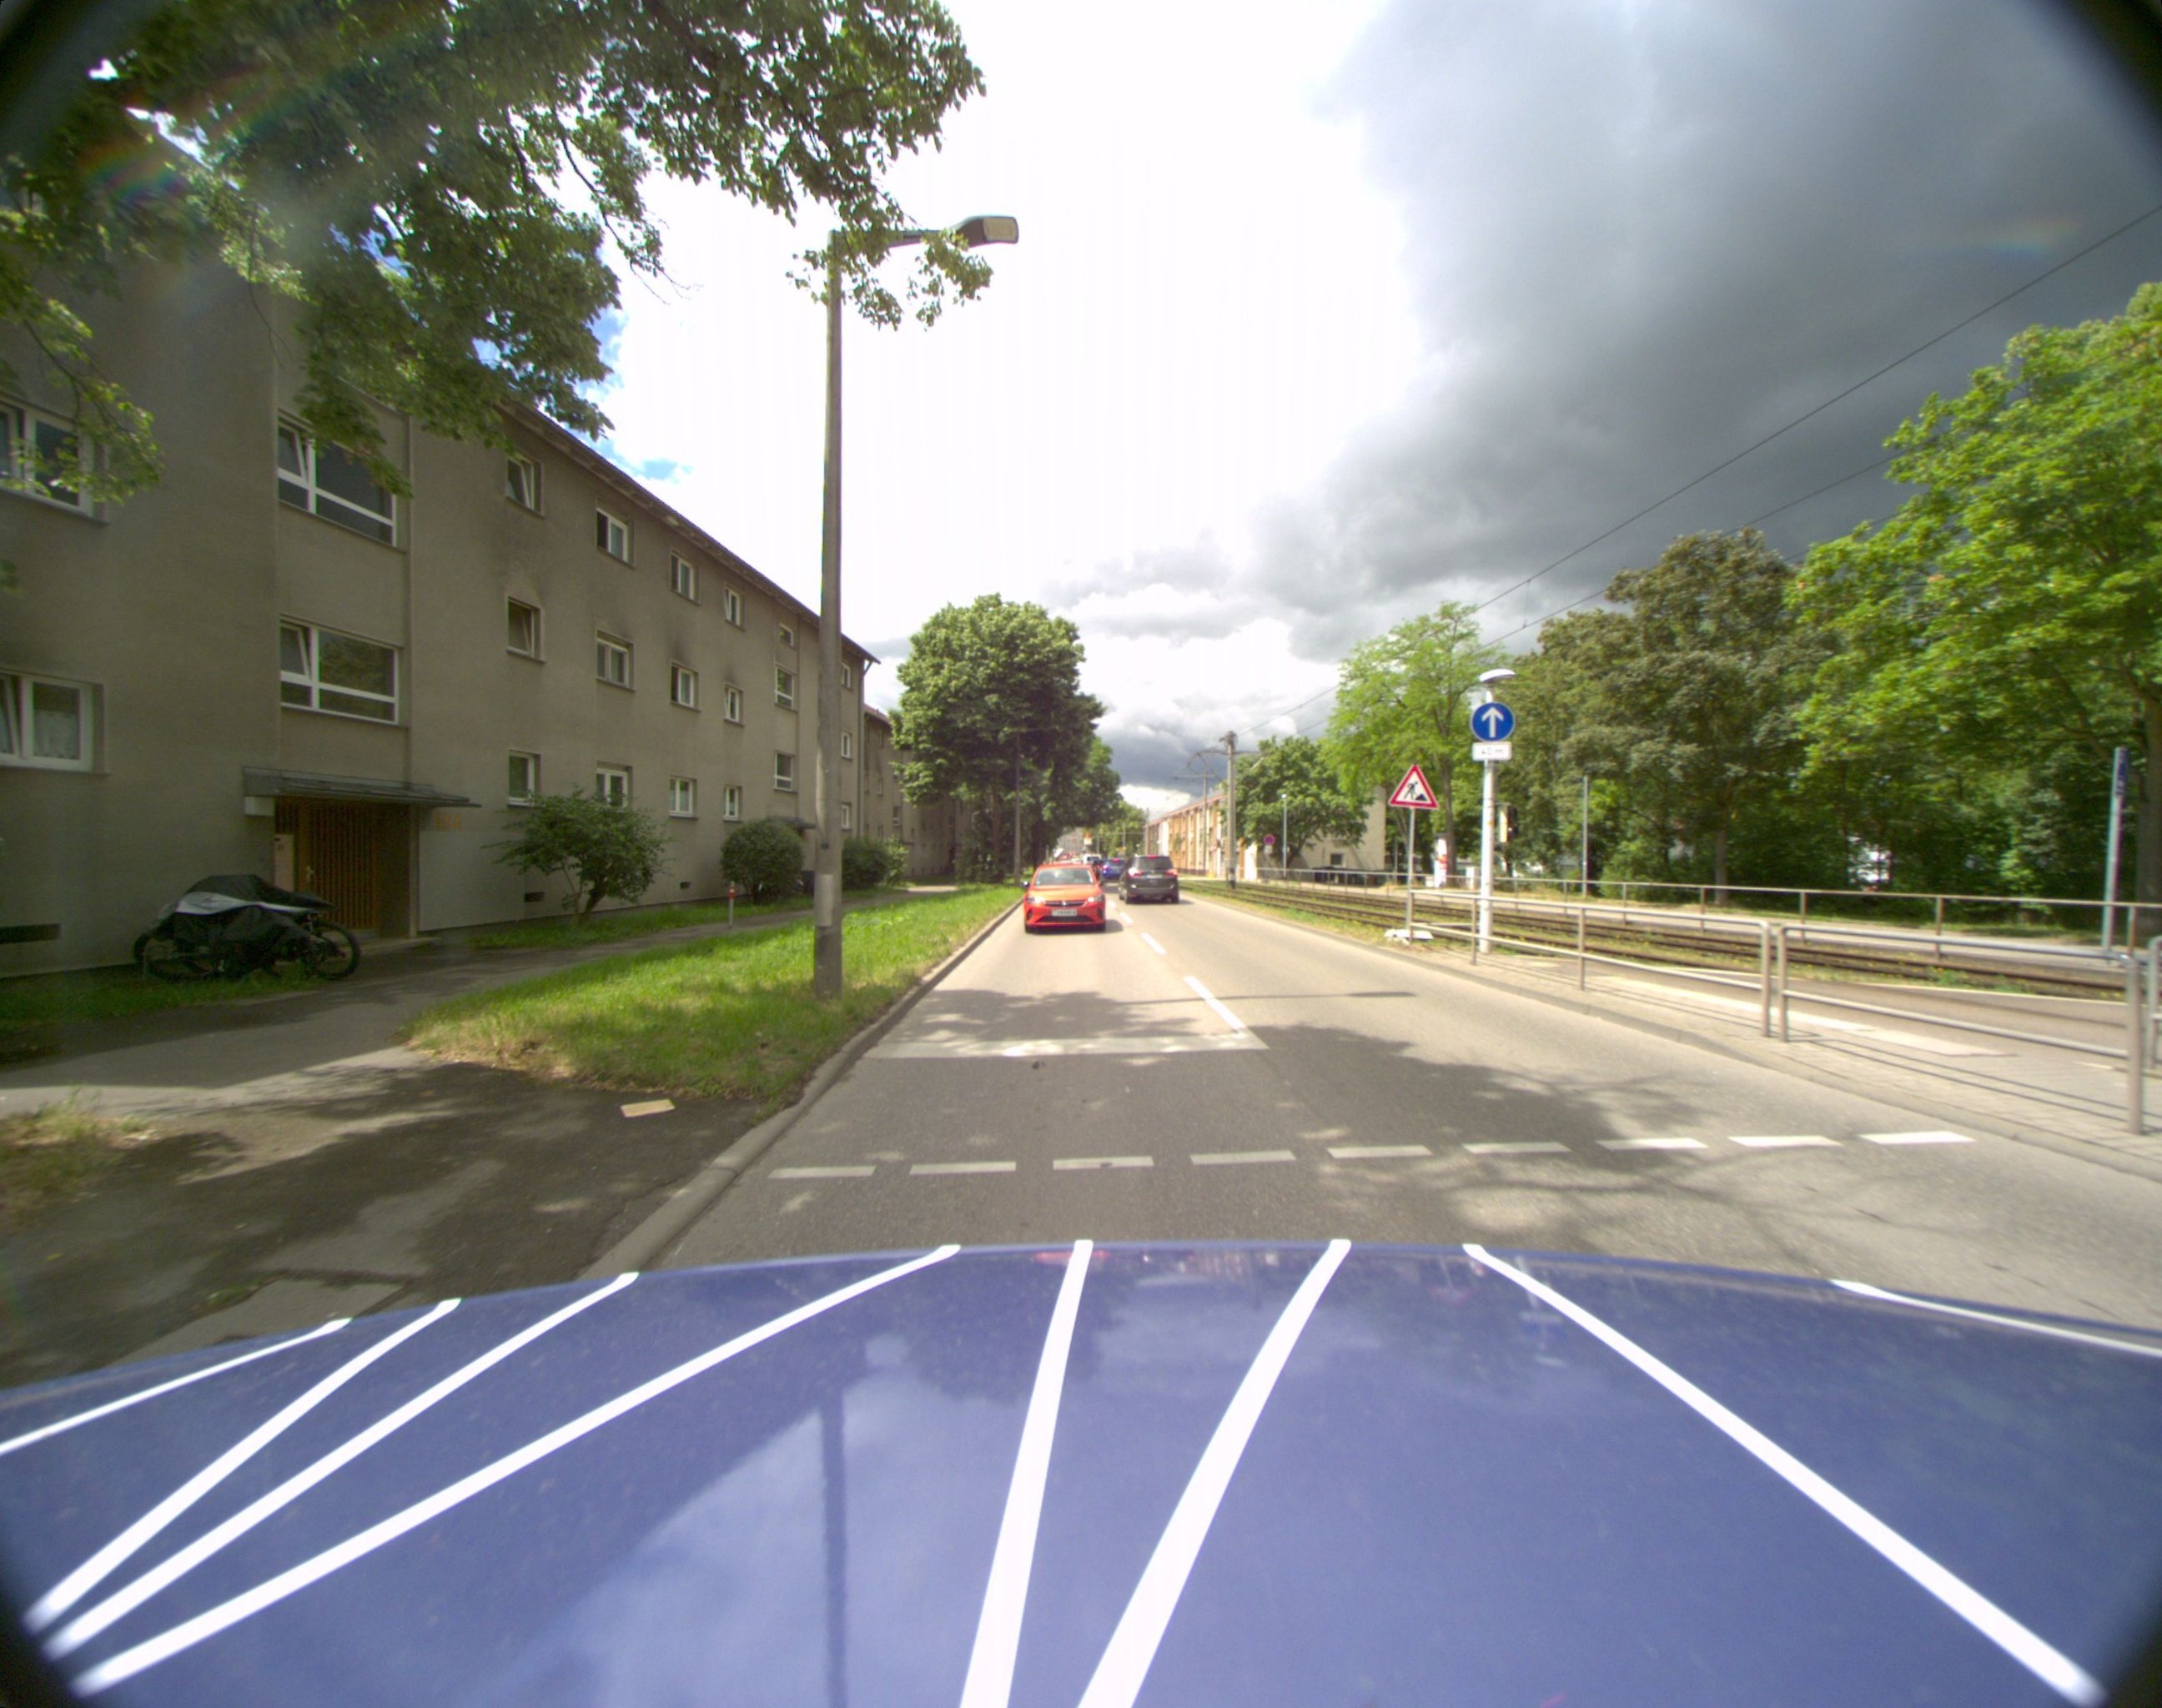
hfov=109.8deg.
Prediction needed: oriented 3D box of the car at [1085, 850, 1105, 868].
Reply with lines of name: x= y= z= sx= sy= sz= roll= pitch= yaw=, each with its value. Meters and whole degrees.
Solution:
car: x=1.570 y=0.565 z=88.541 sx=1.999 sy=1.984 sz=4.785 roll=-1 pitch=0 yaw=-2

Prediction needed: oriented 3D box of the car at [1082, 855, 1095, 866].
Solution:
car: x=1.059 y=0.905 z=111.175 sx=1.666 sy=1.512 sz=3.678 roll=-1 pitch=0 yaw=-1

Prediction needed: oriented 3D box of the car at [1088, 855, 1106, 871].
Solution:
car: x=1.606 y=0.906 z=76.709 sx=1.585 sy=1.477 sz=3.805 roll=-1 pitch=0 yaw=-2

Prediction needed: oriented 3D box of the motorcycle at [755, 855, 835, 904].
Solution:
motorcycle: x=-8.485 y=0.734 z=22.592 sx=2.000 sy=1.421 sz=1.018 roll=0 pitch=0 yaw=10

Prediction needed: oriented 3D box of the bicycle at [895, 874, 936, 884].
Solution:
bicycle: x=-9.583 y=1.469 z=43.979 sx=2.208 sy=0.505 sz=0.673 roll=-1 pitch=1 yaw=10

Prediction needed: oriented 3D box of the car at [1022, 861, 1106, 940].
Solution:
car: x=-0.382 y=0.944 z=17.137 sx=1.666 sy=1.513 sz=3.785 roll=-1 pitch=0 yaw=-1

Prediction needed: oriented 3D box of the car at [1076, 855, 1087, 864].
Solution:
car: x=0.108 y=0.866 z=127.964 sx=1.666 sy=1.512 sz=3.785 roll=-1 pitch=0 yaw=-1

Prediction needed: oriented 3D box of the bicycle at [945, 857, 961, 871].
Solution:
bicycle: x=-9.742 y=0.735 z=57.667 sx=0.437 sy=1.074 sz=1.749 roll=-2 pitch=1 yaw=-36

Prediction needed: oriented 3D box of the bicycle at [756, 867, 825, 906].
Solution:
bicycle: x=-8.264 y=0.917 z=21.625 sx=1.801 sy=1.078 sz=0.455 roll=0 pitch=1 yaw=4

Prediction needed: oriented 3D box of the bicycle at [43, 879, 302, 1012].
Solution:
bicycle: x=-9.609 y=0.934 z=8.069 sx=2.171 sy=1.275 sz=0.681 roll=0 pitch=2 yaw=7

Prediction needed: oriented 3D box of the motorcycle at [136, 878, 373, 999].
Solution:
motorcycle: x=-9.515 y=0.941 z=8.778 sx=2.208 sy=1.275 sz=0.681 roll=0 pitch=2 yaw=7

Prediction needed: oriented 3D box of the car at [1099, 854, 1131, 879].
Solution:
car: x=2.167 y=0.787 z=49.567 sx=1.717 sy=1.557 sz=4.165 roll=-1 pitch=0 yaw=-2

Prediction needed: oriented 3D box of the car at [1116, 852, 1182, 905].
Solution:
car: x=2.301 y=0.786 z=26.575 sx=1.712 sy=1.666 sz=4.227 roll=-1 pitch=0 yaw=-2

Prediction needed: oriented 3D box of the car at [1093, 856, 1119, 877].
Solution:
car: x=1.930 y=0.951 z=58.787 sx=1.721 sy=1.535 sz=3.999 roll=-1 pitch=0 yaw=-2

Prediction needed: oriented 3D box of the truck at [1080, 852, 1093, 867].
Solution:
truck: x=0.993 y=0.996 z=141.465 sx=2.097 sy=2.723 sz=5.095 roll=-1 pitch=1 yaw=-4
